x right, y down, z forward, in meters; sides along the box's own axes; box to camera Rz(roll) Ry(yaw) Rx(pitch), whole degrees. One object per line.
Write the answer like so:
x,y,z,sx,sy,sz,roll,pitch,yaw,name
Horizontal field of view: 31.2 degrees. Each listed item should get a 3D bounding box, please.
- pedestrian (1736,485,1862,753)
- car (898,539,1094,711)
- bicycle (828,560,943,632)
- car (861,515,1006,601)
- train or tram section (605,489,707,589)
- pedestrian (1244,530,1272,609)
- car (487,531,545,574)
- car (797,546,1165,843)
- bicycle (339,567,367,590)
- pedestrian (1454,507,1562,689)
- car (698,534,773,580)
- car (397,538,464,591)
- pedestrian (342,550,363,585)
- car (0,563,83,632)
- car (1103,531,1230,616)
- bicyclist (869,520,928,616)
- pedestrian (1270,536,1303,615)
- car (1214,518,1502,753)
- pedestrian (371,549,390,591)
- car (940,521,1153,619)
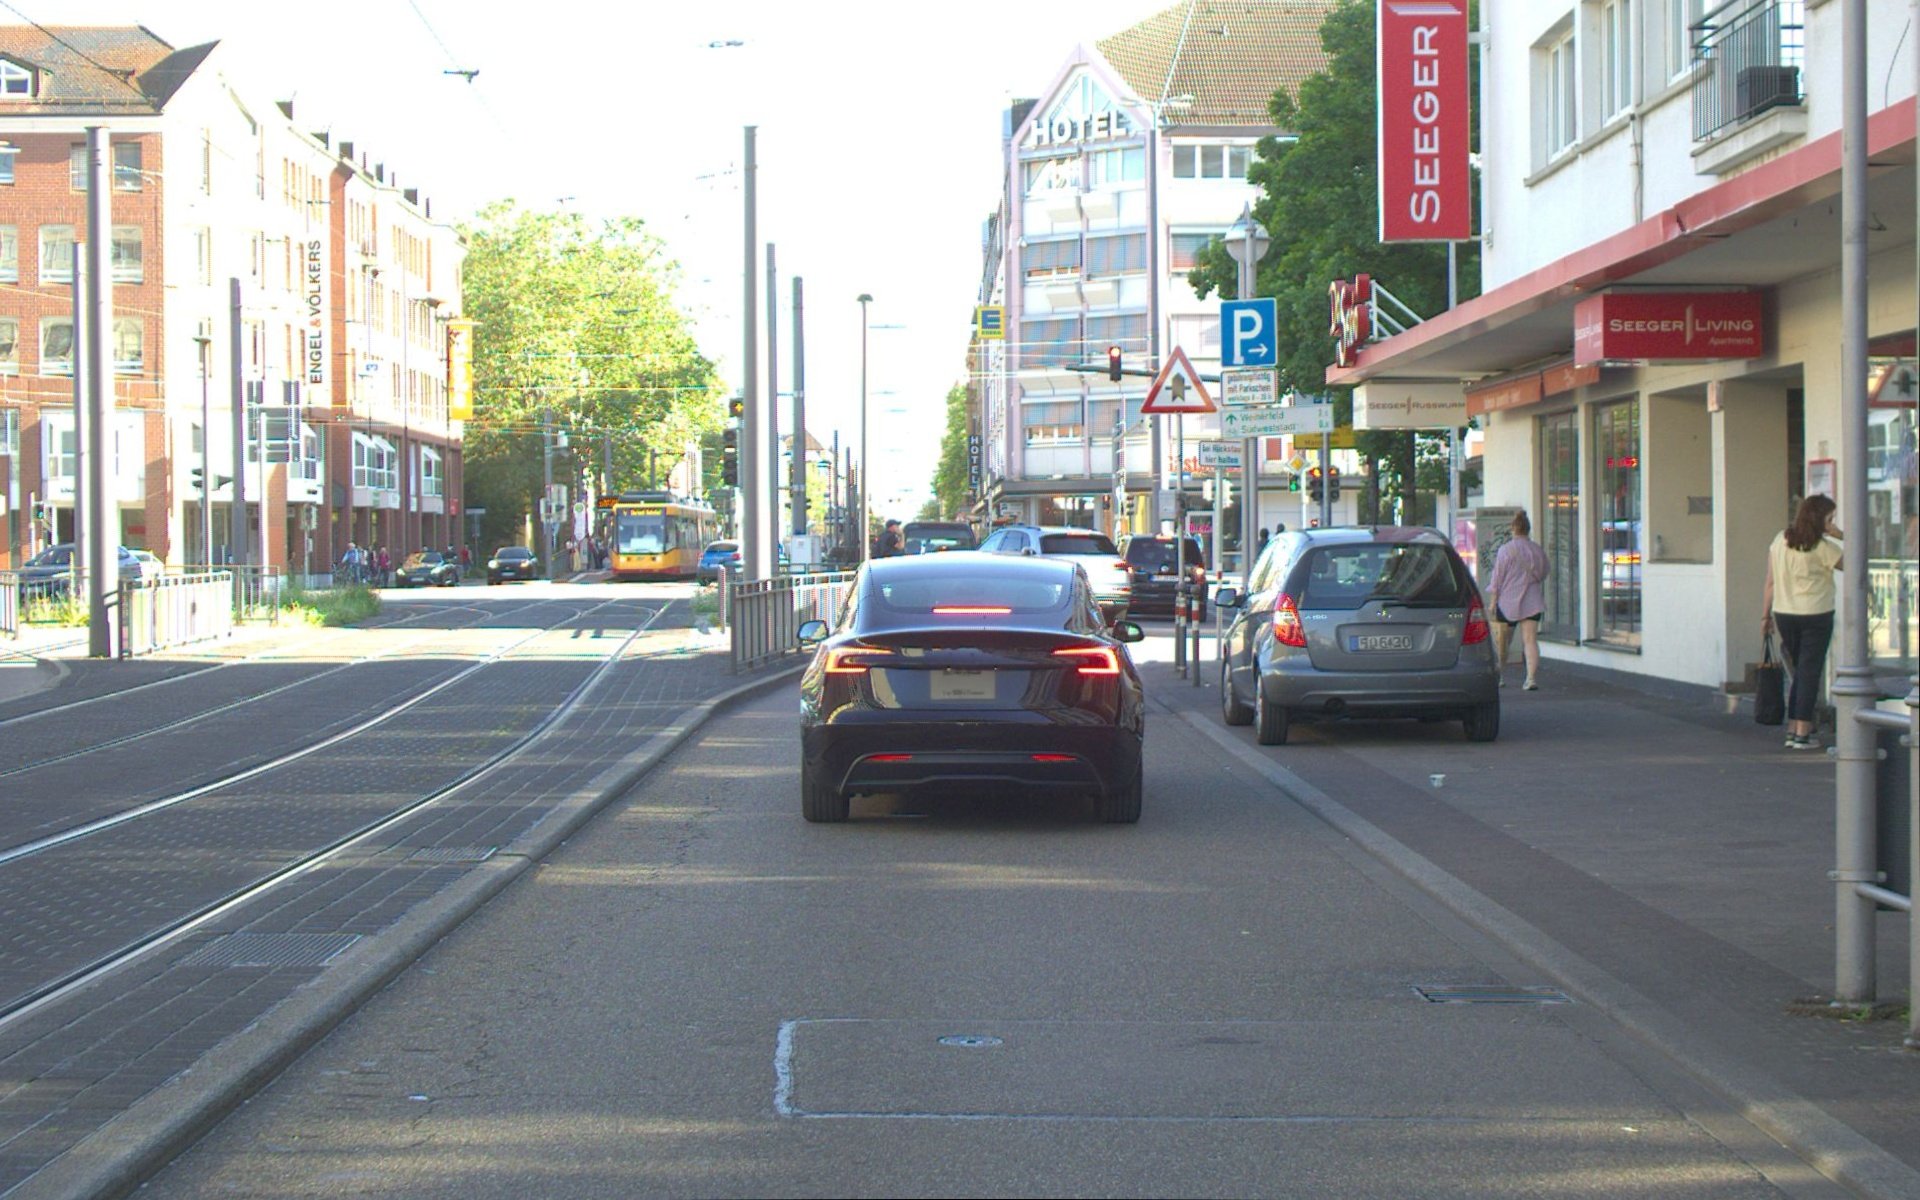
5.678,0.123,23.263,0.804,1.768,0.932,0,0,14,pedestrian
0.323,0.181,31.601,1.653,1.413,4.000,2,1,0,car
-1.192,-0.065,54.781,1.727,1.084,0.678,2,0,-8,bicycle
-0.543,-0.806,65.096,1.824,1.514,4.219,2,0,-13,car
-12.000,-2.374,136.958,2.674,3.703,14.193,2,1,0,train or tram section
6.379,-0.663,73.698,0.562,1.677,0.750,1,1,5,pedestrian
-17.980,-1.906,139.300,1.751,1.645,4.000,2,0,0,car
0.058,0.468,19.465,1.849,1.479,3.787,1,0,-1,car
-23.385,-0.832,132.481,0.702,0.852,2.053,-1,1,0,bicycle
5.197,-0.019,32.580,0.818,1.677,0.714,2,0,23,pedestrian
-7.356,-1.397,112.911,1.994,1.415,4.000,2,0,3,car
-20.979,-1.411,136.371,1.993,2.007,4.000,2,0,0,car
-23.385,-1.249,132.278,0.696,1.303,0.564,-1,1,-1,pedestrian
-20.837,-0.076,78.012,1.764,1.506,4.281,0,1,-13,car
3.898,-0.505,65.468,1.824,1.514,3.650,2,0,-5,car
-0.983,-0.516,54.824,0.836,1.494,0.560,2,0,-8,bicyclist
6.779,-0.511,71.373,0.629,1.608,0.643,1,1,3,pedestrian
2.957,0.218,26.210,1.745,1.626,3.649,-1,1,0,car
-23.268,-1.193,138.087,0.711,1.661,0.564,2,0,-9,pedestrian
1.385,-0.513,56.806,1.783,1.514,4.219,2,1,-25,car
